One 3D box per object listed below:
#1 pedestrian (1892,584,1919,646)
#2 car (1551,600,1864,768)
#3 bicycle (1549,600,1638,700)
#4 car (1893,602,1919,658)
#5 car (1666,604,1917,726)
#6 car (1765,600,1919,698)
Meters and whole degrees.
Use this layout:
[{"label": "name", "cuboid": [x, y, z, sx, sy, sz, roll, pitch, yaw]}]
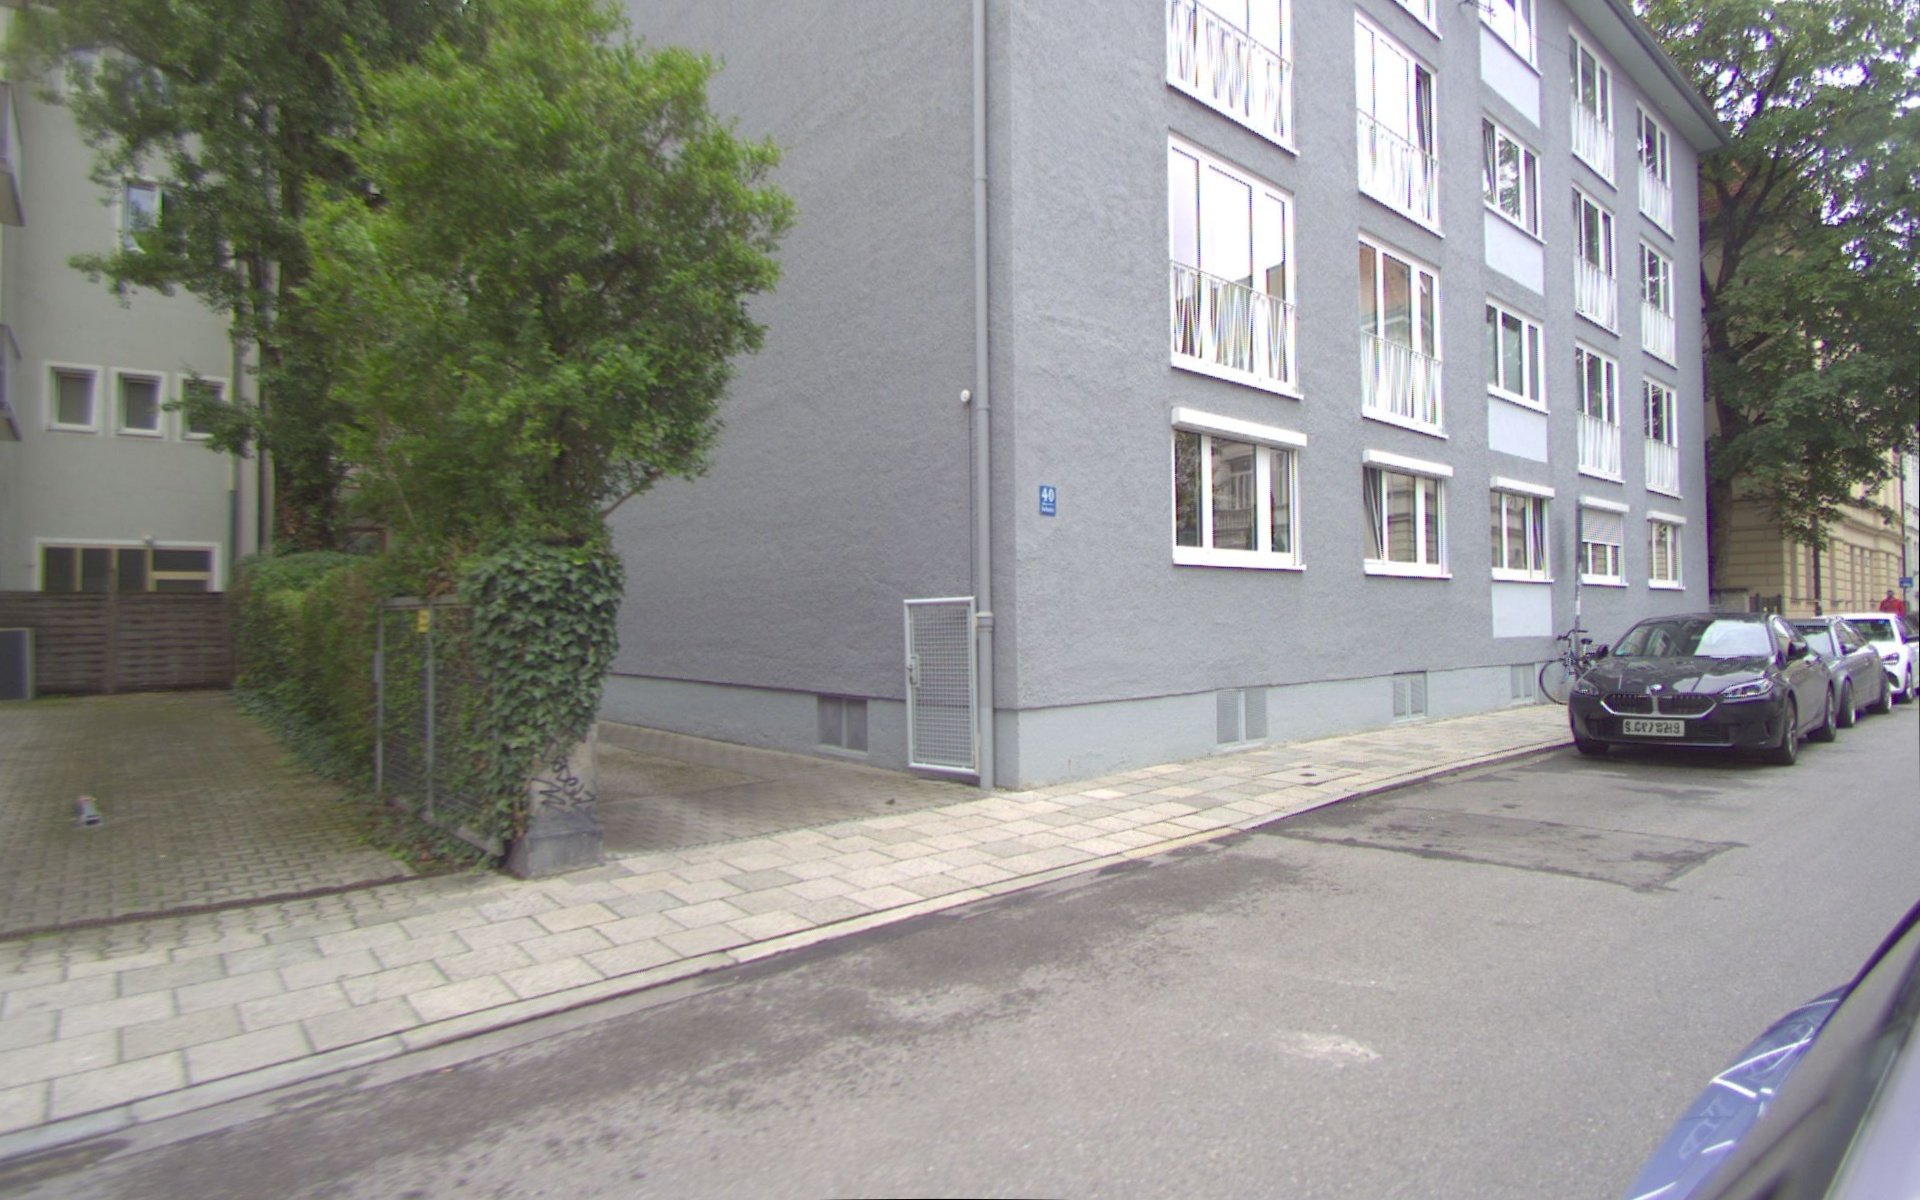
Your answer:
[{"label": "pedestrian", "cuboid": [31.239, 0.500, 33.407, 0.448, 2.003, 0.580, 0, -2, -40]}, {"label": "car", "cuboid": [8.120, 0.804, 10.854, 4.191, 1.447, 1.842, 0, -5, -43]}, {"label": "bicycle", "cuboid": [10.103, 0.757, 16.103, 2.239, 1.505, 0.515, 0, -2, -40]}, {"label": "car", "cuboid": [26.238, 0.714, 26.752, 4.433, 1.392, 1.856, 0, -3, -42]}, {"label": "car", "cuboid": [11.631, 0.843, 14.050, 4.405, 1.420, 1.792, 0, -5, -40]}, {"label": "car", "cuboid": [15.443, 0.791, 17.242, 4.267, 1.465, 1.771, 0, -5, -40]}]
